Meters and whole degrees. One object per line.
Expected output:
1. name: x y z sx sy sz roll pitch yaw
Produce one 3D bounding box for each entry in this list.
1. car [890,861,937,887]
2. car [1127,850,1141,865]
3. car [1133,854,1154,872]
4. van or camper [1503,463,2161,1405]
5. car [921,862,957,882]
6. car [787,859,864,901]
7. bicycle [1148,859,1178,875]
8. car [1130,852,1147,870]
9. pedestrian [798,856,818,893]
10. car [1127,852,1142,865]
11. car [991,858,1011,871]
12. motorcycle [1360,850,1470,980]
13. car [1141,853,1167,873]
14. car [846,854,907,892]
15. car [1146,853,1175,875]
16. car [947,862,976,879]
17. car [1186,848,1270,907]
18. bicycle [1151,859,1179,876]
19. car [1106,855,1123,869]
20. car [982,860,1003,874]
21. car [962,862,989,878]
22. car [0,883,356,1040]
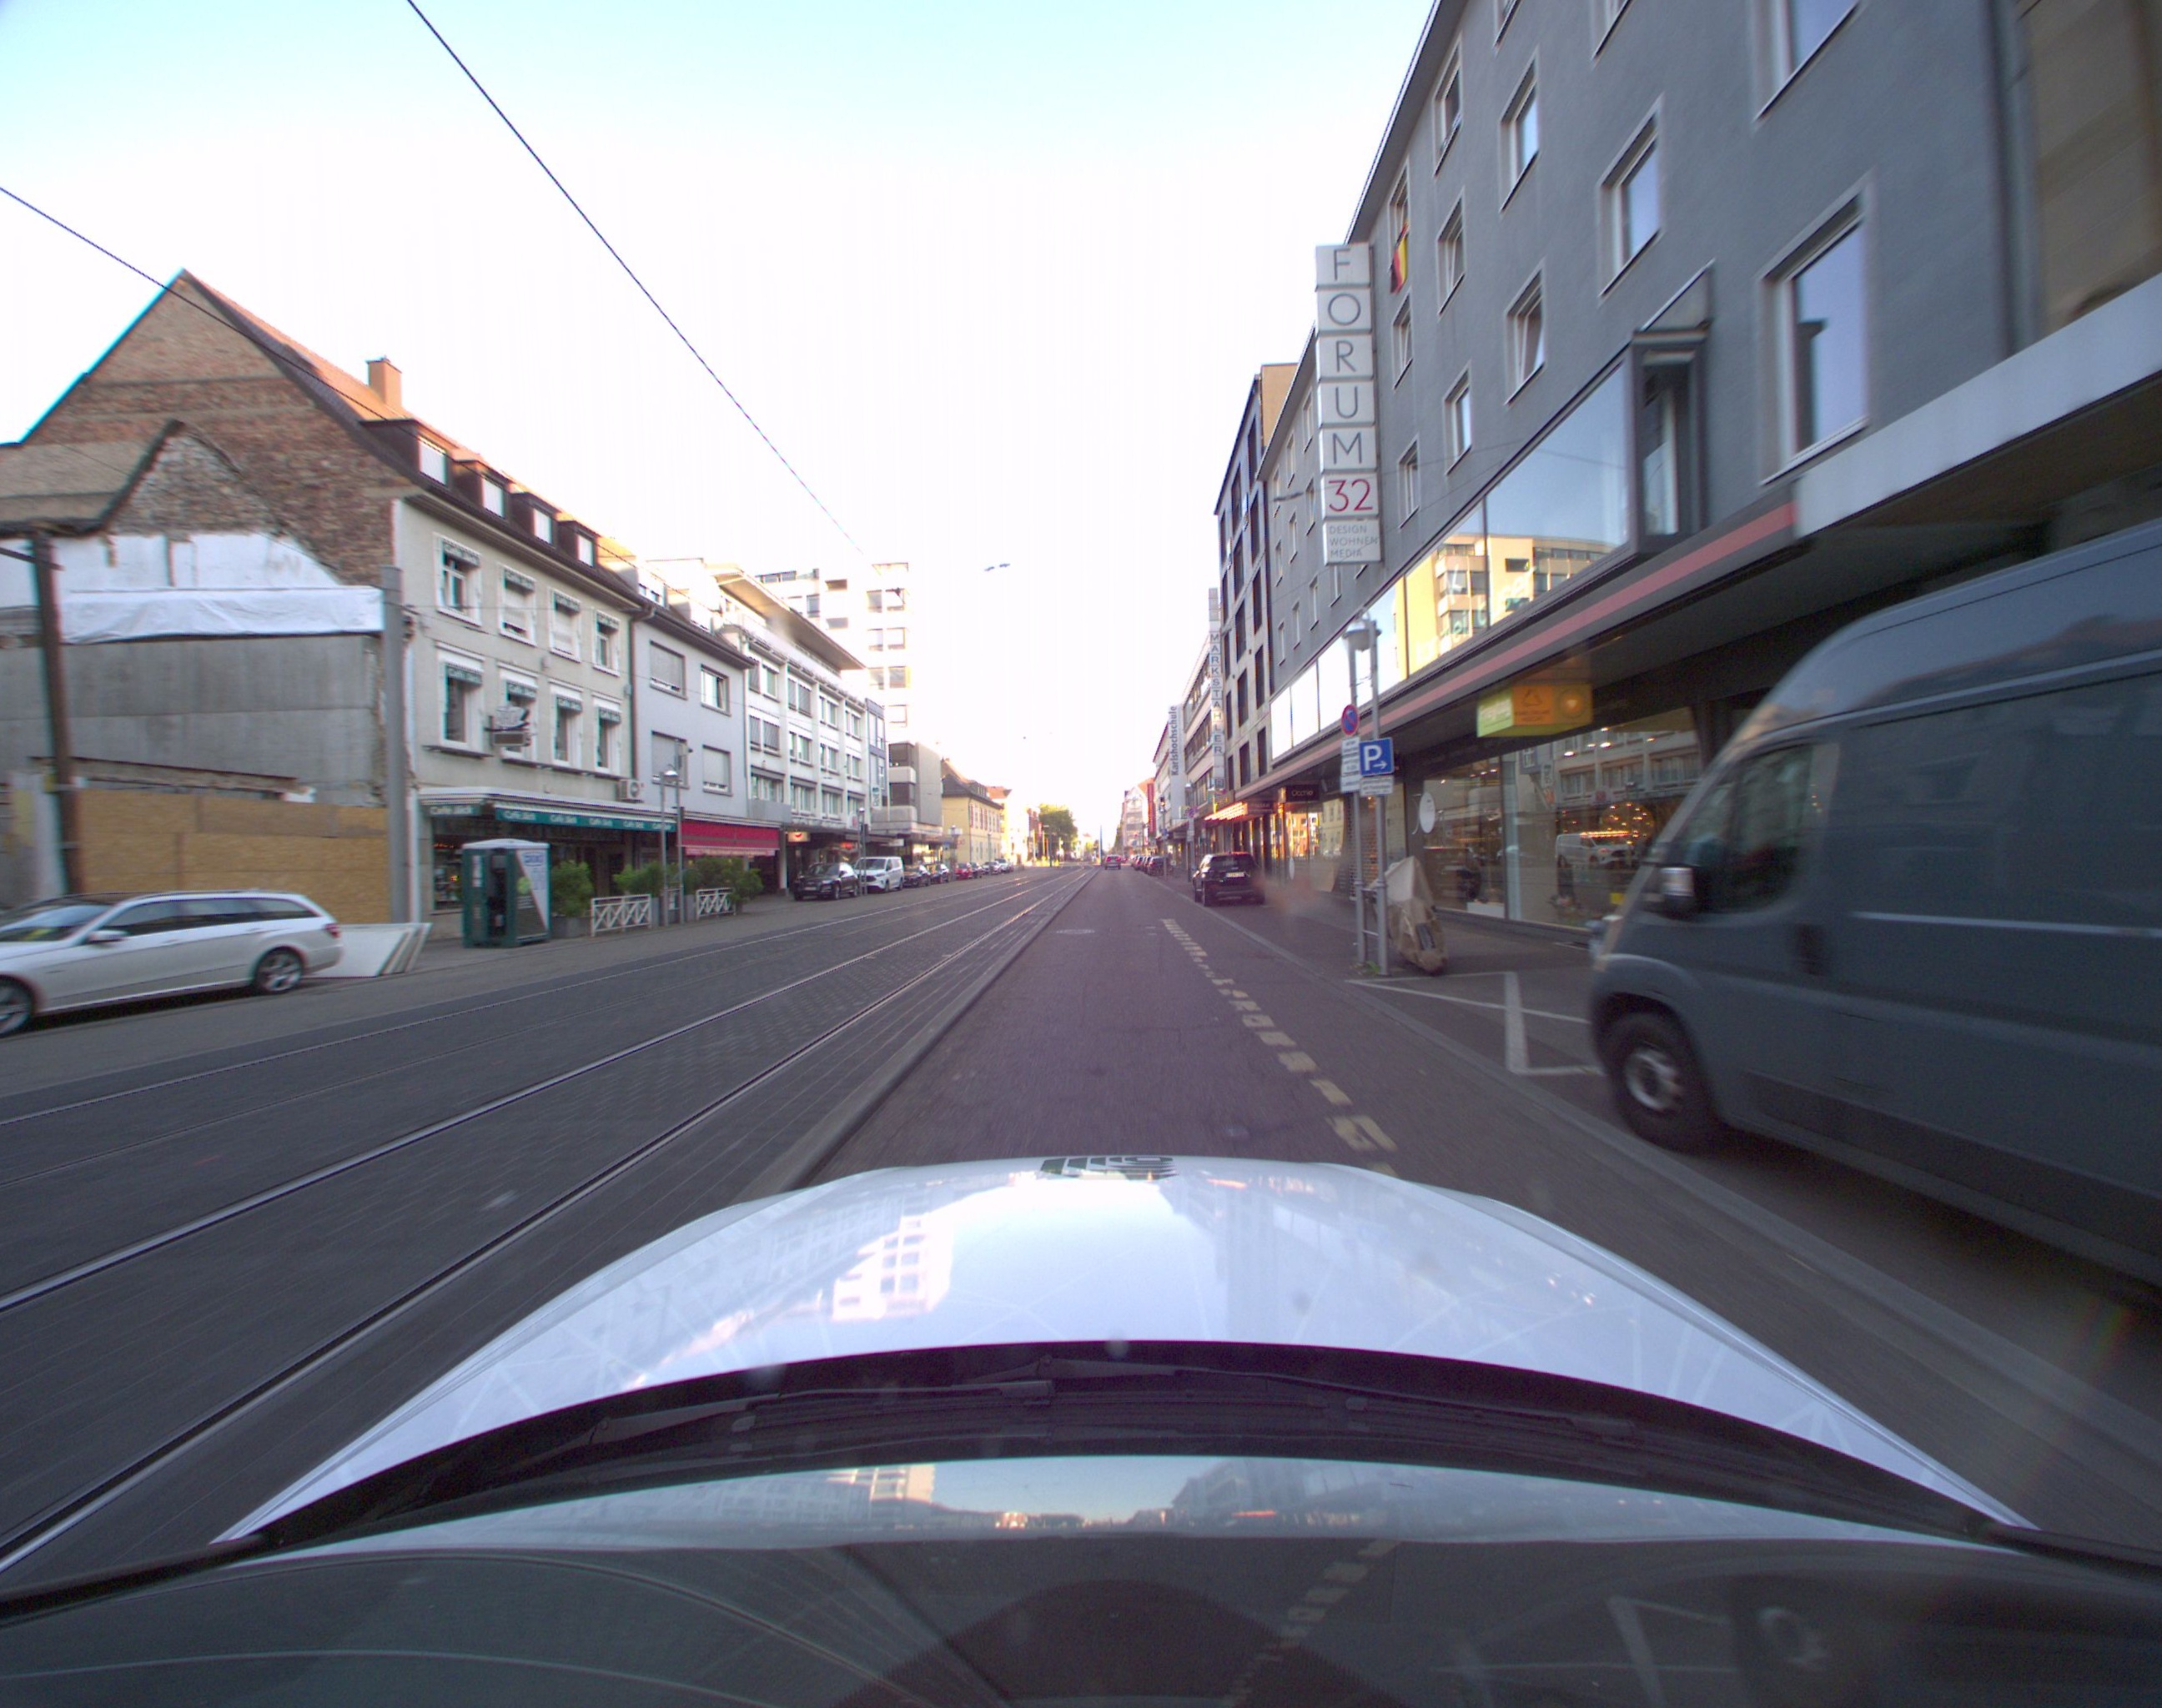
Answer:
1. car: -10.716 1.264 52.403 1.910 1.521 4.631 1 0 1
2. car: 7.960 0.481 123.374 1.936 2.145 4.548 -4 0 3
3. car: 6.484 0.881 84.883 1.936 1.703 4.548 -4 0 3
4. van or camper: 3.859 0.167 2.514 2.181 2.426 5.518 -4 0 1
5. car: -10.172 1.301 58.689 1.784 1.339 3.893 1 0 1
6. car: -11.531 1.138 37.138 1.909 1.763 4.432 1 0 2
7. bicycle: 5.969 0.969 59.657 2.112 1.090 0.591 -2 0 -1
8. car: 6.998 0.827 99.830 1.936 1.965 4.548 -4 0 3
9. pedestrian: -13.746 1.009 40.996 0.645 1.820 0.837 1 0 2
10. car: 7.281 0.622 111.373 1.936 1.703 4.548 -4 0 3
11. car: -9.128 1.137 93.286 1.784 1.449 3.893 1 0 1
12. motorcycle: 4.103 0.686 10.176 0.807 1.417 2.010 -3 0 10
13. car: 6.165 0.739 69.121 1.936 1.545 4.548 -4 0 3
14. car: -11.159 0.998 44.878 1.909 1.936 4.845 1 0 3
15. car: 6.128 0.753 63.355 1.936 1.545 4.548 -4 0 3
16. car: -10.050 1.356 68.576 1.784 1.339 3.893 1 0 1
17. car: 4.470 0.668 25.388 1.936 1.545 4.548 -4 0 3
18. bicycle: 5.772 0.955 55.907 1.862 1.090 0.546 -2 0 1
19. car: 3.992 0.931 95.801 1.936 1.545 4.548 -1 0 3
20. car: -9.445 1.365 87.242 1.784 1.449 3.893 1 0 1
21. car: -9.529 1.421 73.829 1.784 1.339 3.893 1 0 1
22. car: -12.242 1.206 10.185 1.842 1.504 4.845 1 0 3
